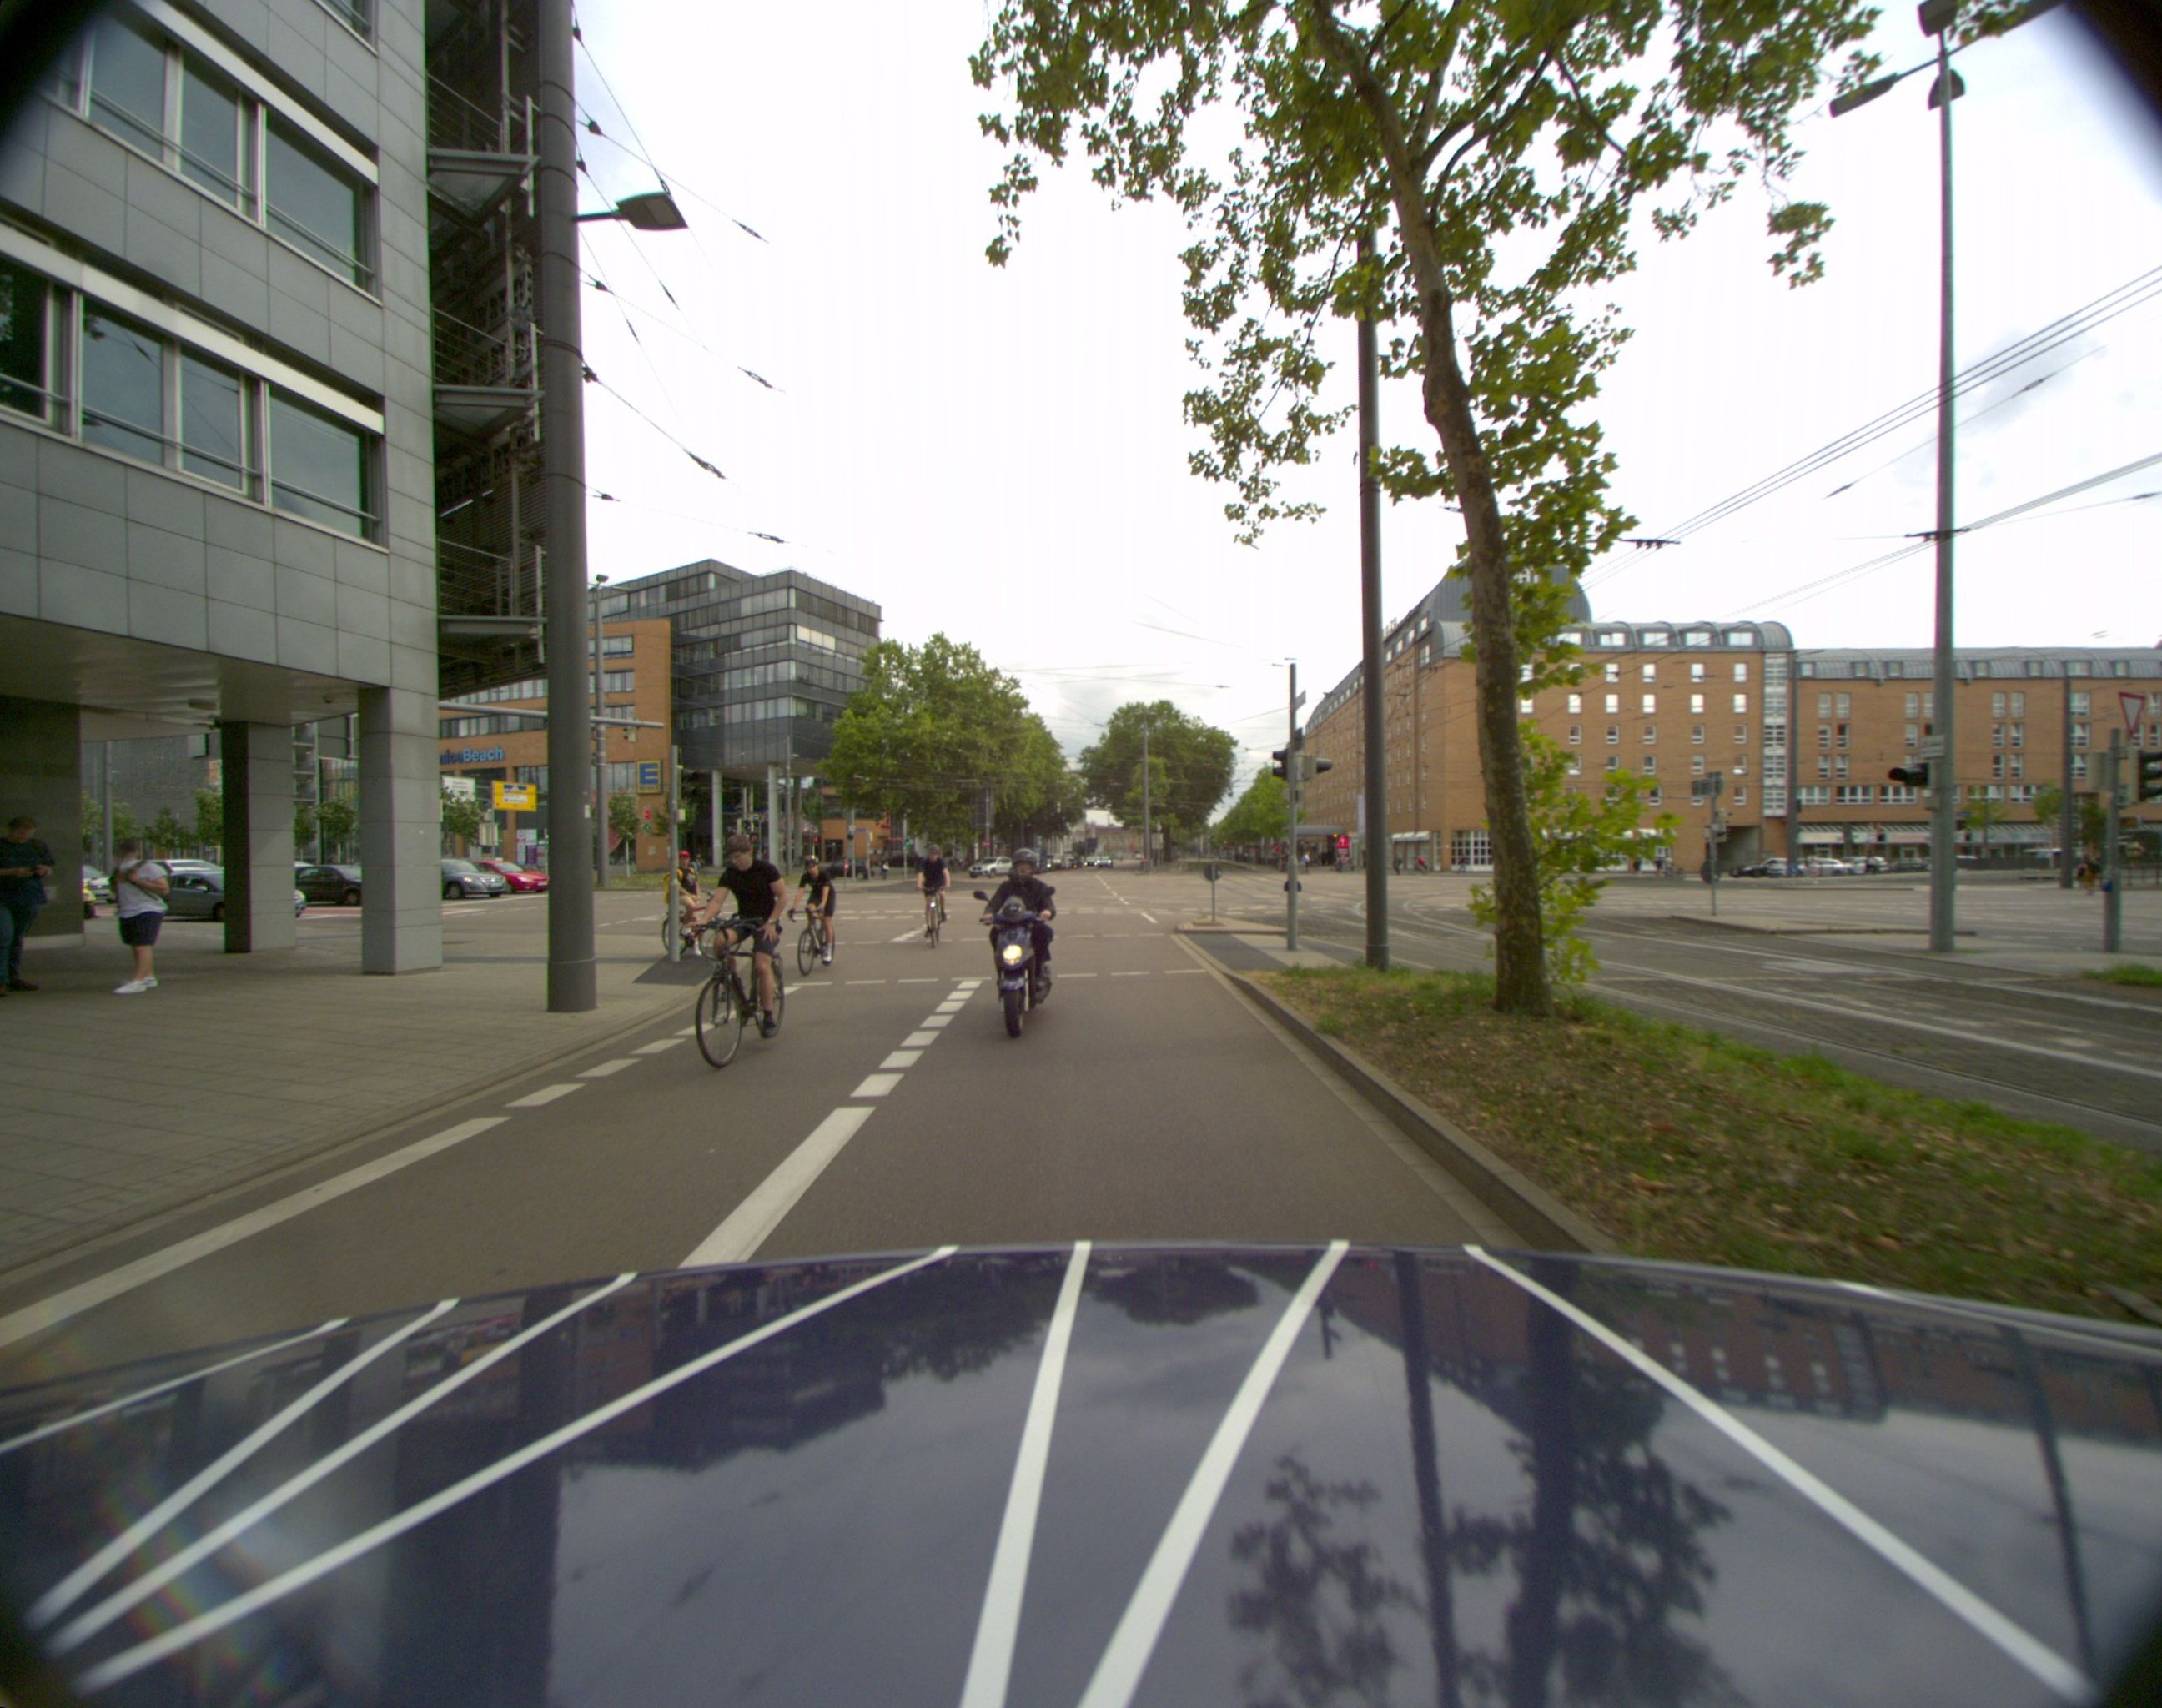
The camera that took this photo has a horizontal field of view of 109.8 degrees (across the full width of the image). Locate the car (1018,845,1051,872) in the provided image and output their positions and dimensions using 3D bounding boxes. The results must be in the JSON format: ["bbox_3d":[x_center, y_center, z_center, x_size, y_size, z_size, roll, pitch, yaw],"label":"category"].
[{"bbox_3d":[-4.419,0.361,73.420,2.174,2.441,6.999,0,1,5],"label":"car"}]

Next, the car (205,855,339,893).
[{"bbox_3d":[-33.447,0.784,31.458,3.994,1.453,1.824,0,2,9],"label":"car"}]

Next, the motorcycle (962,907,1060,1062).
[{"bbox_3d":[-0.609,1.160,7.416,0.769,1.101,2.207,0,1,-1],"label":"motorcycle"}]

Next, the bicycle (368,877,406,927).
[{"bbox_3d":[-19.293,1.303,21.141,0.662,1.132,2.432,-2,4,-41],"label":"bicycle"}]

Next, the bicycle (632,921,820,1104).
[{"bbox_3d":[-2.937,1.246,6.566,0.595,1.132,2.091,0,0,2],"label":"bicycle"}]

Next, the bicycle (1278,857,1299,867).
[{"bbox_3d":[18.573,0.743,68.068,1.710,0.884,0.499,0,2,4],"label":"bicycle"}]

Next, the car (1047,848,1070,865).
[{"bbox_3d":[-2.563,0.277,89.080,1.997,2.002,5.439,0,0,6],"label":"car"}]

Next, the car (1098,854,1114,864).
[{"bbox_3d":[3.273,0.669,99.962,1.845,1.369,3.835,0,-1,6],"label":"car"}]

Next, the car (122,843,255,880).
[{"bbox_3d":[-38.259,0.294,32.602,3.994,1.524,1.824,0,2,9],"label":"car"}]

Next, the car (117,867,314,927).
[{"bbox_3d":[-24.695,1.173,21.745,3.994,1.524,1.824,0,2,9],"label":"car"}]

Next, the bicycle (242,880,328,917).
[{"bbox_3d":[-25.090,1.389,23.964,2.218,1.051,0.750,0,3,11],"label":"bicycle"}]

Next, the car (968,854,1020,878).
[{"bbox_3d":[-6.750,0.896,59.647,1.960,1.651,4.645,-2,1,23],"label":"car"}]

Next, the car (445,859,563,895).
[{"bbox_3d":[-25.150,0.964,33.172,3.994,1.425,1.824,0,2,9],"label":"car"}]

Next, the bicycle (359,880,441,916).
[{"bbox_3d":[-21.197,1.356,23.657,2.202,1.051,0.683,0,3,11],"label":"bicycle"}]

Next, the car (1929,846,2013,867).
[{"bbox_3d":[62.296,0.196,53.212,3.998,1.433,1.702,0,0,-2],"label":"car"}]

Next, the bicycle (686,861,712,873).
[{"bbox_3d":[-32.974,1.087,65.633,2.002,1.005,0.638,0,2,8],"label":"bicycle"}]

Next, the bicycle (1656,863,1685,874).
[{"bbox_3d":[46.434,1.140,59.890,1.796,0.777,0.640,0,1,-1],"label":"bicycle"}]

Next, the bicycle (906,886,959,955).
[{"bbox_3d":[-2.787,1.216,14.404,0.595,1.132,1.858,0,0,2],"label":"bicycle"}]

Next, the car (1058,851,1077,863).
[{"bbox_3d":[-1.692,0.369,94.920,1.914,1.533,4.094,0,0,6],"label":"car"}]

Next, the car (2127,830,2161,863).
[{"bbox_3d":[77.531,-0.528,53.659,5.081,2.306,1.702,0,0,-2],"label":"car"}]

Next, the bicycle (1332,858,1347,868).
[{"bbox_3d":[25.511,0.839,74.999,0.659,0.931,1.892,0,1,-3],"label":"bicycle"}]

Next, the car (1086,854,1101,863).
[{"bbox_3d":[1.875,0.645,115.248,1.711,1.270,4.002,0,1,8],"label":"car"}]

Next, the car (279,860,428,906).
[{"bbox_3d":[-26.305,1.021,27.550,3.994,1.524,1.824,0,1,9],"label":"car"}]

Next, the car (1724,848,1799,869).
[{"bbox_3d":[50.495,0.325,56.435,3.997,1.470,1.800,0,1,-2],"label":"car"}]

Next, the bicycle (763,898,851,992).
[{"bbox_3d":[-3.908,1.264,10.967,0.595,1.132,1.734,0,1,2],"label":"bicycle"}]

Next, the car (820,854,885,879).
[{"bbox_3d":[-16.793,0.914,55.967,4.176,1.728,1.965,0,1,0],"label":"car"}]

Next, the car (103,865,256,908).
[{"bbox_3d":[-33.437,1.177,28.231,3.994,1.453,1.824,0,2,9],"label":"car"}]

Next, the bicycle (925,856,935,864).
[{"bbox_3d":[-17.455,0.647,87.896,0.535,0.911,1.542,0,1,12],"label":"bicycle"}]

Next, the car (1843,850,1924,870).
[{"bbox_3d":[57.225,0.414,54.208,3.998,1.434,1.702,0,1,-2],"label":"car"}]

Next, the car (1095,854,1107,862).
[{"bbox_3d":[3.330,0.694,125.664,1.574,1.270,3.734,0,1,8],"label":"car"}]

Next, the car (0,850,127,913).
[{"bbox_3d":[-31.044,0.761,22.436,3.994,1.751,1.824,0,1,9],"label":"car"}]

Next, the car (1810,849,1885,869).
[{"bbox_3d":[57.432,0.363,56.979,3.998,1.434,1.702,0,1,-2],"label":"car"}]

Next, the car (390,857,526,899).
[{"bbox_3d":[-24.862,0.927,30.401,4.213,1.524,1.824,0,2,9],"label":"car"}]

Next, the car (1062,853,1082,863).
[{"bbox_3d":[-1.209,0.535,103.158,1.997,1.270,4.002,0,1,8],"label":"car"}]

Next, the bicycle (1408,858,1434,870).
[{"bbox_3d":[29.534,0.883,66.032,2.056,1.002,0.641,0,2,19],"label":"bicycle"}]

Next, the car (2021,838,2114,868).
[{"bbox_3d":[74.144,-0.055,57.134,4.833,2.218,1.702,0,1,-2],"label":"car"}]

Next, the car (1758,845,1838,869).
[{"bbox_3d":[50.878,0.183,53.983,3.997,1.674,1.800,0,1,-2],"label":"car"}]

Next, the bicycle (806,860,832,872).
[{"bbox_3d":[-22.446,0.998,65.149,2.002,1.005,0.638,0,1,8],"label":"bicycle"}]

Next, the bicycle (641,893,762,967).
[{"bbox_3d":[-6.519,1.273,13.044,1.900,1.132,0.727,0,1,19],"label":"bicycle"}]

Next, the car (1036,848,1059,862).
[{"bbox_3d":[-3.578,0.131,81.405,1.756,1.410,4.275,1,1,6],"label":"car"}]
